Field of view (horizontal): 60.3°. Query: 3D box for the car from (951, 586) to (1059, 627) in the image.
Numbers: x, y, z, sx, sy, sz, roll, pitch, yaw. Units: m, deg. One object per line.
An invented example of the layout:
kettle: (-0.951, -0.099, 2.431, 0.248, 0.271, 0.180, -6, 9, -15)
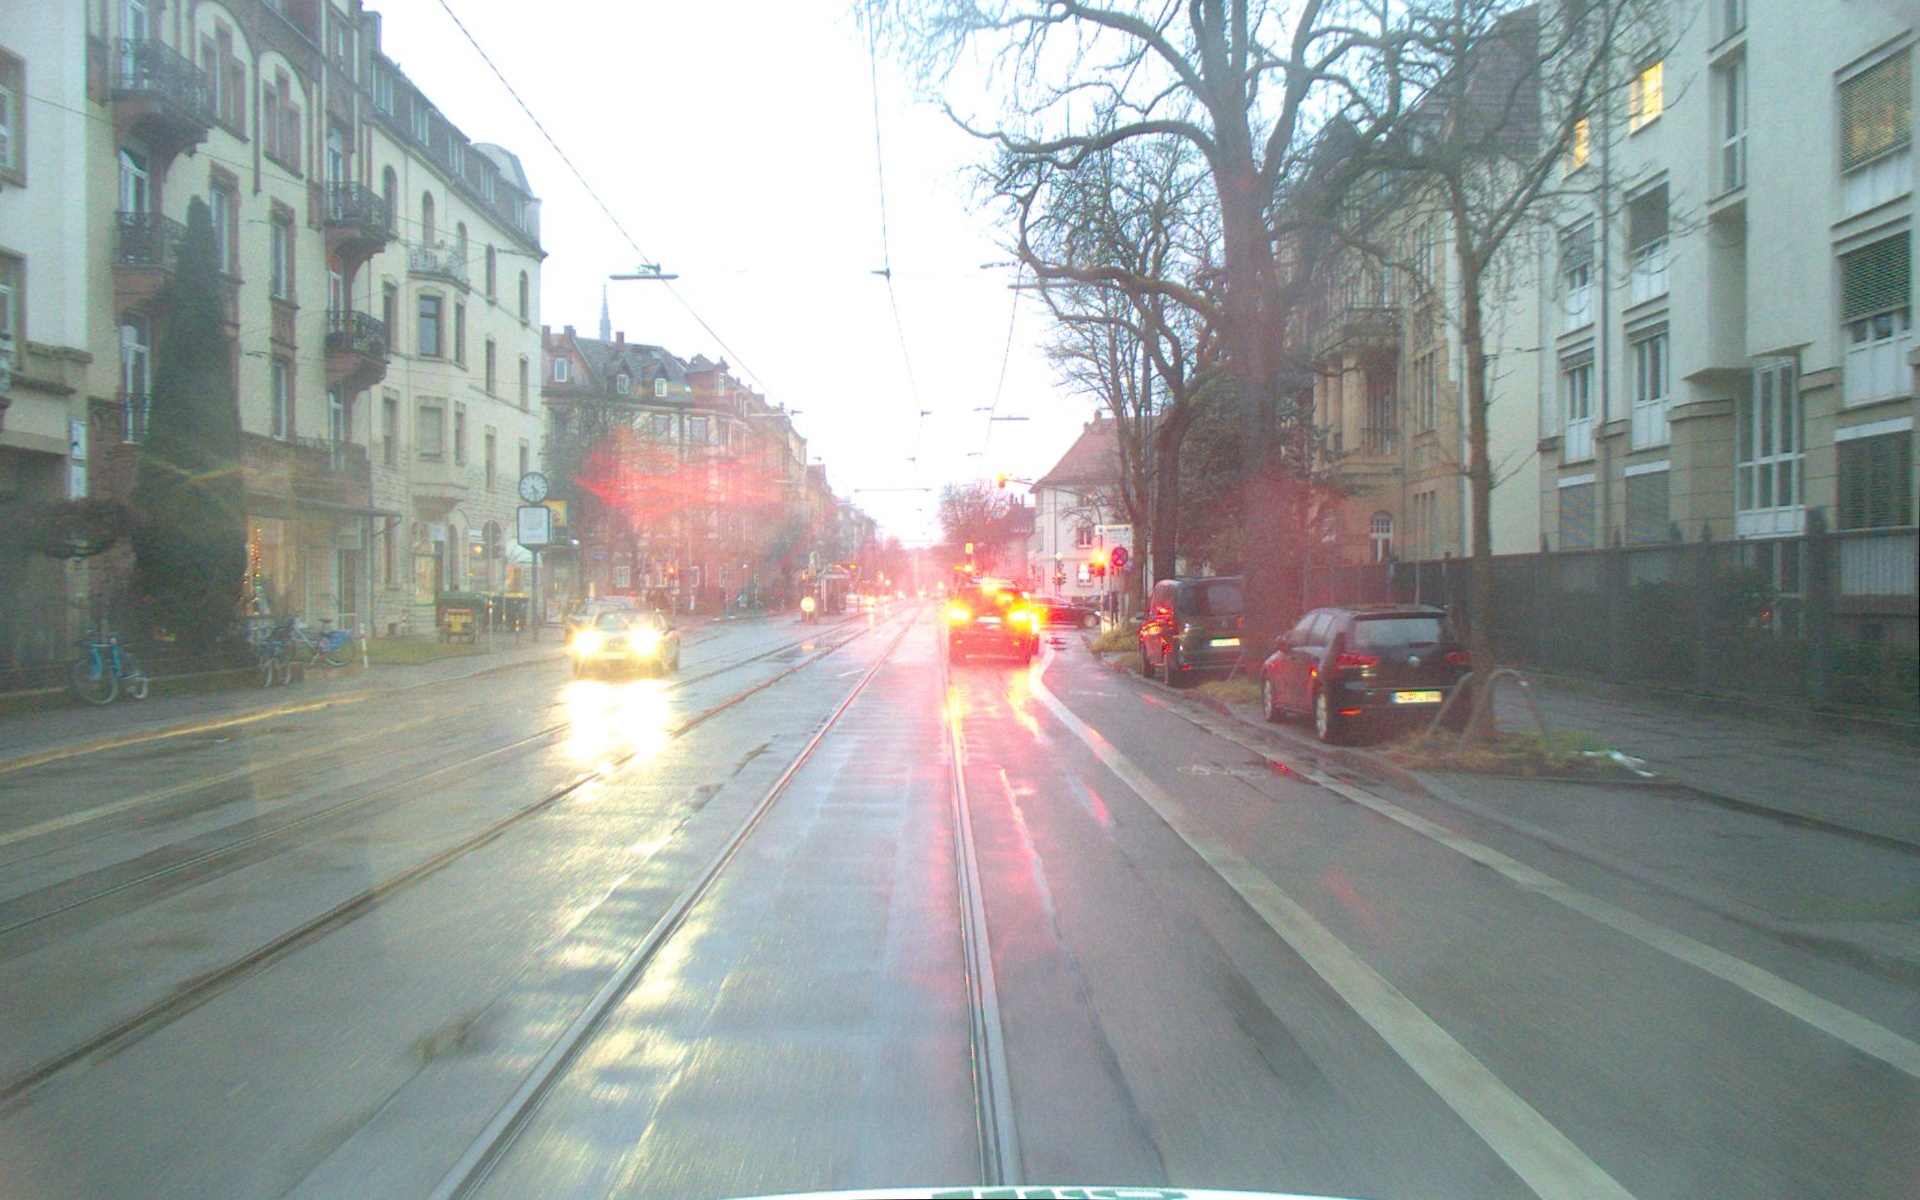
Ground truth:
car: (2.020, 0.271, 75.285, 4.844, 1.747, 1.697, -1, 1, -1)

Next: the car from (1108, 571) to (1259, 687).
car: (4.039, 0.451, 30.713, 1.953, 1.933, 5.026, -1, 1, -2)

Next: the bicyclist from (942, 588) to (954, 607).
bicyclist: (-0.922, -0.175, 125.610, 0.808, 1.400, 0.555, -1, 1, -15)

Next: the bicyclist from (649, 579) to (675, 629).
bicyclist: (-9.962, 0.118, 55.400, 0.702, 1.630, 0.931, -1, 1, -2)

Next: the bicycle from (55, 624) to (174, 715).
bicycle: (-10.729, 0.859, 21.049, 0.613, 1.035, 1.805, -2, 1, -2)

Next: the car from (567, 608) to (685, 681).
car: (-6.428, 0.821, 32.170, 1.627, 1.219, 3.873, -1, 1, -2)

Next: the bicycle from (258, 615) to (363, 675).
bicycle: (-12.647, 0.869, 32.249, 1.771, 1.099, 0.615, -1, 1, -8)

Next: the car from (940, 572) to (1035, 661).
car: (0.571, 0.383, 38.297, 1.953, 1.930, 4.757, 1, -1, -2)

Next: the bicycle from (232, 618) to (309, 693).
bicycle: (-11.086, 0.871, 26.649, 0.602, 1.099, 1.809, -1, 1, -5)

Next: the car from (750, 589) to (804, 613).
car: (-13.702, 0.066, 123.680, 3.914, 1.747, 1.899, -1, 1, -9)

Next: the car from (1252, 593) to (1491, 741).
car: (4.635, 0.684, 19.206, 1.643, 1.485, 4.041, -1, 1, -2)

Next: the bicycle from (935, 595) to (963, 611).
bicycle: (-0.815, 0.244, 125.640, 2.069, 1.153, 0.555, -1, 1, -15)

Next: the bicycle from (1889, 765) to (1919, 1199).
bicycle: (2.588, 0.975, 3.020, 0.692, 1.116, 2.030, -1, 1, 2)

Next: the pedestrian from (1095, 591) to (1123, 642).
pedestrian: (6.181, 0.680, 68.696, 1.002, 2.049, 0.918, -1, 1, -4)

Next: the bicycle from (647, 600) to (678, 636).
bicycle: (-9.948, 0.597, 55.343, 0.702, 1.130, 2.064, -1, 1, -2)

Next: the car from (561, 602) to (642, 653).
car: (-11.549, 0.849, 53.534, 1.796, 1.472, 4.000, -1, 1, -1)

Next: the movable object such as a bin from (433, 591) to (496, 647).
movable object such as a bin: (-14.285, 0.527, 47.739, 1.380, 1.557, 1.364, -1, 1, -1)

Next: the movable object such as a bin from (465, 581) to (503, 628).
movable object such as a bin: (-16.868, 0.148, 58.628, 0.993, 1.628, 1.081, -1, 1, 1)

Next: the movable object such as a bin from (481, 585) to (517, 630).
movable object such as a bin: (-17.039, 0.265, 61.176, 0.993, 1.628, 1.081, -1, 1, 1)
